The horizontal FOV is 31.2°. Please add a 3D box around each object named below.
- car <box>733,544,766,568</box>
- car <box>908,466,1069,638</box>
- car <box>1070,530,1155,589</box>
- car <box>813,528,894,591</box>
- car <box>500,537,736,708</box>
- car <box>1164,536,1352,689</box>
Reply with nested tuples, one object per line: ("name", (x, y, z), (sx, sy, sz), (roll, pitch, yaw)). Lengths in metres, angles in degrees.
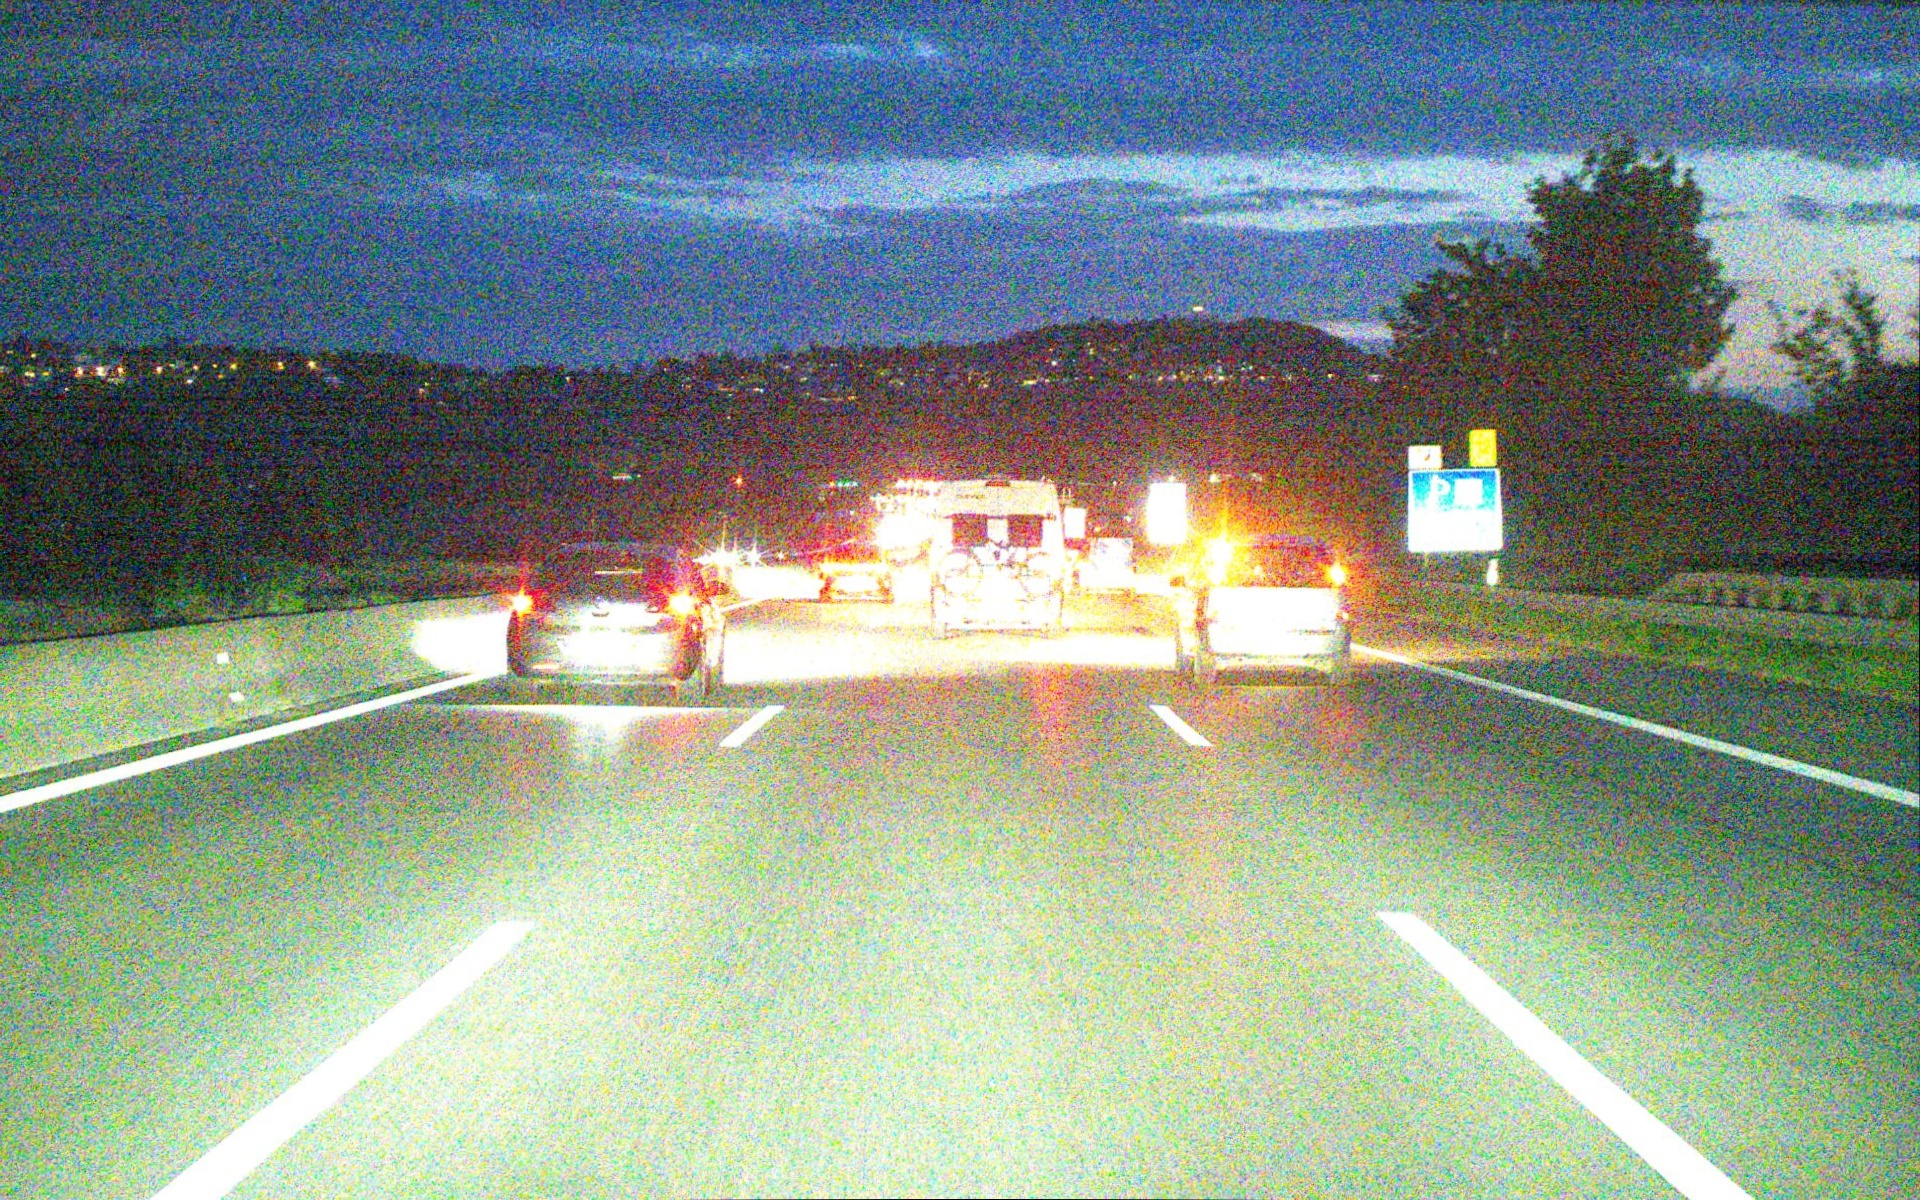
("car", (-14.656, -3.085, 239.791), (1.903, 1.637, 5.298), (-1, 1, 1))
("car", (0.444, -0.777, 53.672), (2.351, 2.526, 5.701), (-1, 1, 1))
("car", (4.151, -1.118, 94.173), (2.163, 1.558, 4.723), (0, 1, 1))
("car", (-2.520, -0.981, 82.227), (1.745, 1.435, 4.367), (-1, 1, 1))
("car", (-3.140, 0.161, 32.195), (1.793, 1.464, 3.773), (1, 1, 1))
("car", (3.263, 0.098, 38.364), (1.646, 1.591, 4.510), (1, 1, 0))
